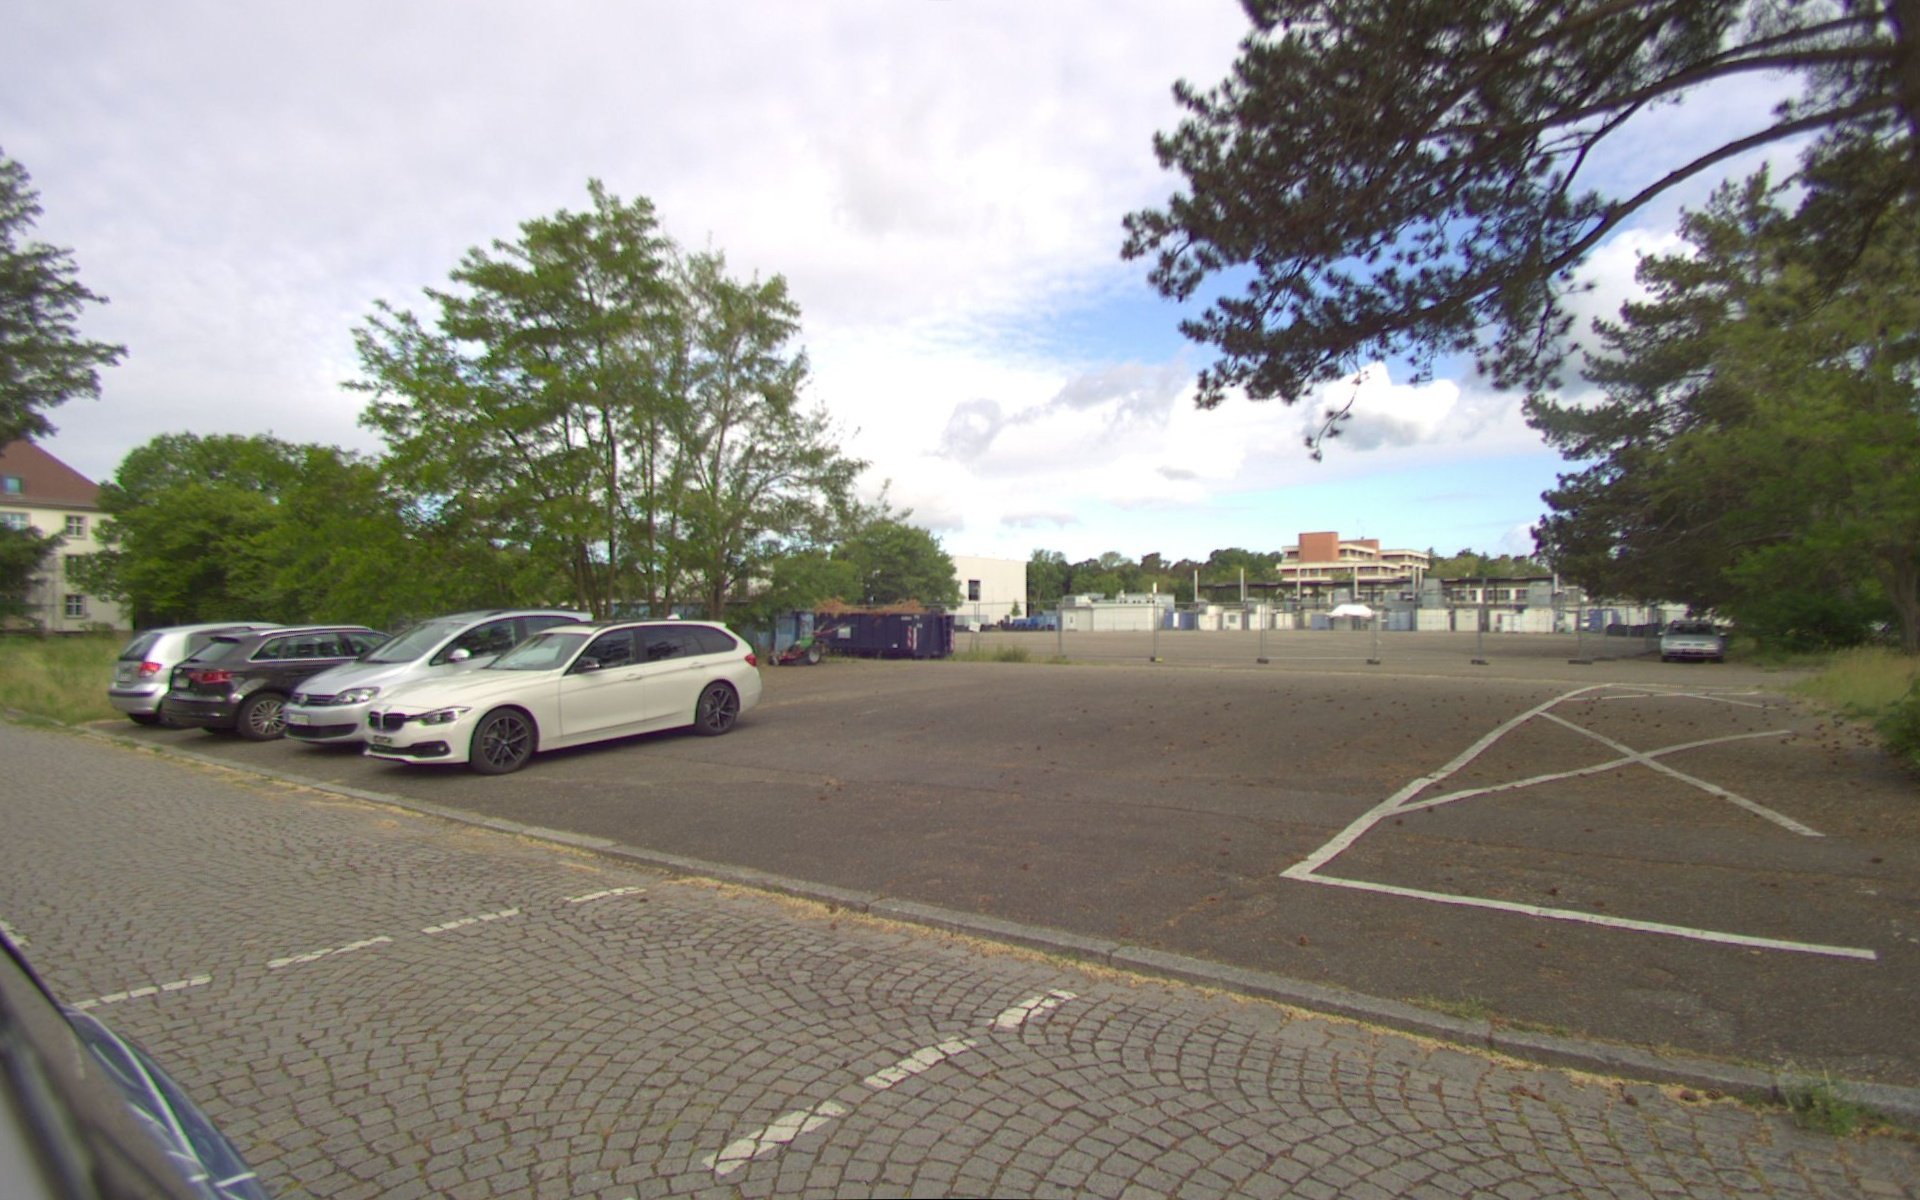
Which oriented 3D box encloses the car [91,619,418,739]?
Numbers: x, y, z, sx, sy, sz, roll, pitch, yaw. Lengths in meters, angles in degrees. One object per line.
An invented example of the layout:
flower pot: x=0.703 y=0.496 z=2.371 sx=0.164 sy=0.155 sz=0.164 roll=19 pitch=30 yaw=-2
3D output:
car: x=-10.955 y=1.136 z=15.978 sx=1.581 sy=1.481 sz=3.917 roll=-1 pitch=1 yaw=34

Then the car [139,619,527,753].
car: x=-8.727 y=1.086 z=14.498 sx=1.718 sy=1.435 sz=4.397 roll=-1 pitch=1 yaw=35

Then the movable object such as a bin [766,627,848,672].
movable object such as a bin: x=-4.083 y=1.311 z=27.189 sx=0.857 sy=1.134 sz=2.241 roll=-1 pitch=-2 yaw=35

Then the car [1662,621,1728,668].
car: x=25.544 y=1.502 z=35.238 sx=1.732 sy=1.443 sz=4.111 roll=-1 pitch=-1 yaw=36

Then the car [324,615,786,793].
car: x=-4.356 y=1.004 z=11.684 sx=1.862 sy=1.499 sz=4.698 roll=-2 pitch=-1 yaw=35

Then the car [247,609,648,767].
car: x=-6.413 y=0.977 z=13.191 sx=1.866 sy=1.610 sz=4.330 roll=-1 pitch=0 yaw=31
